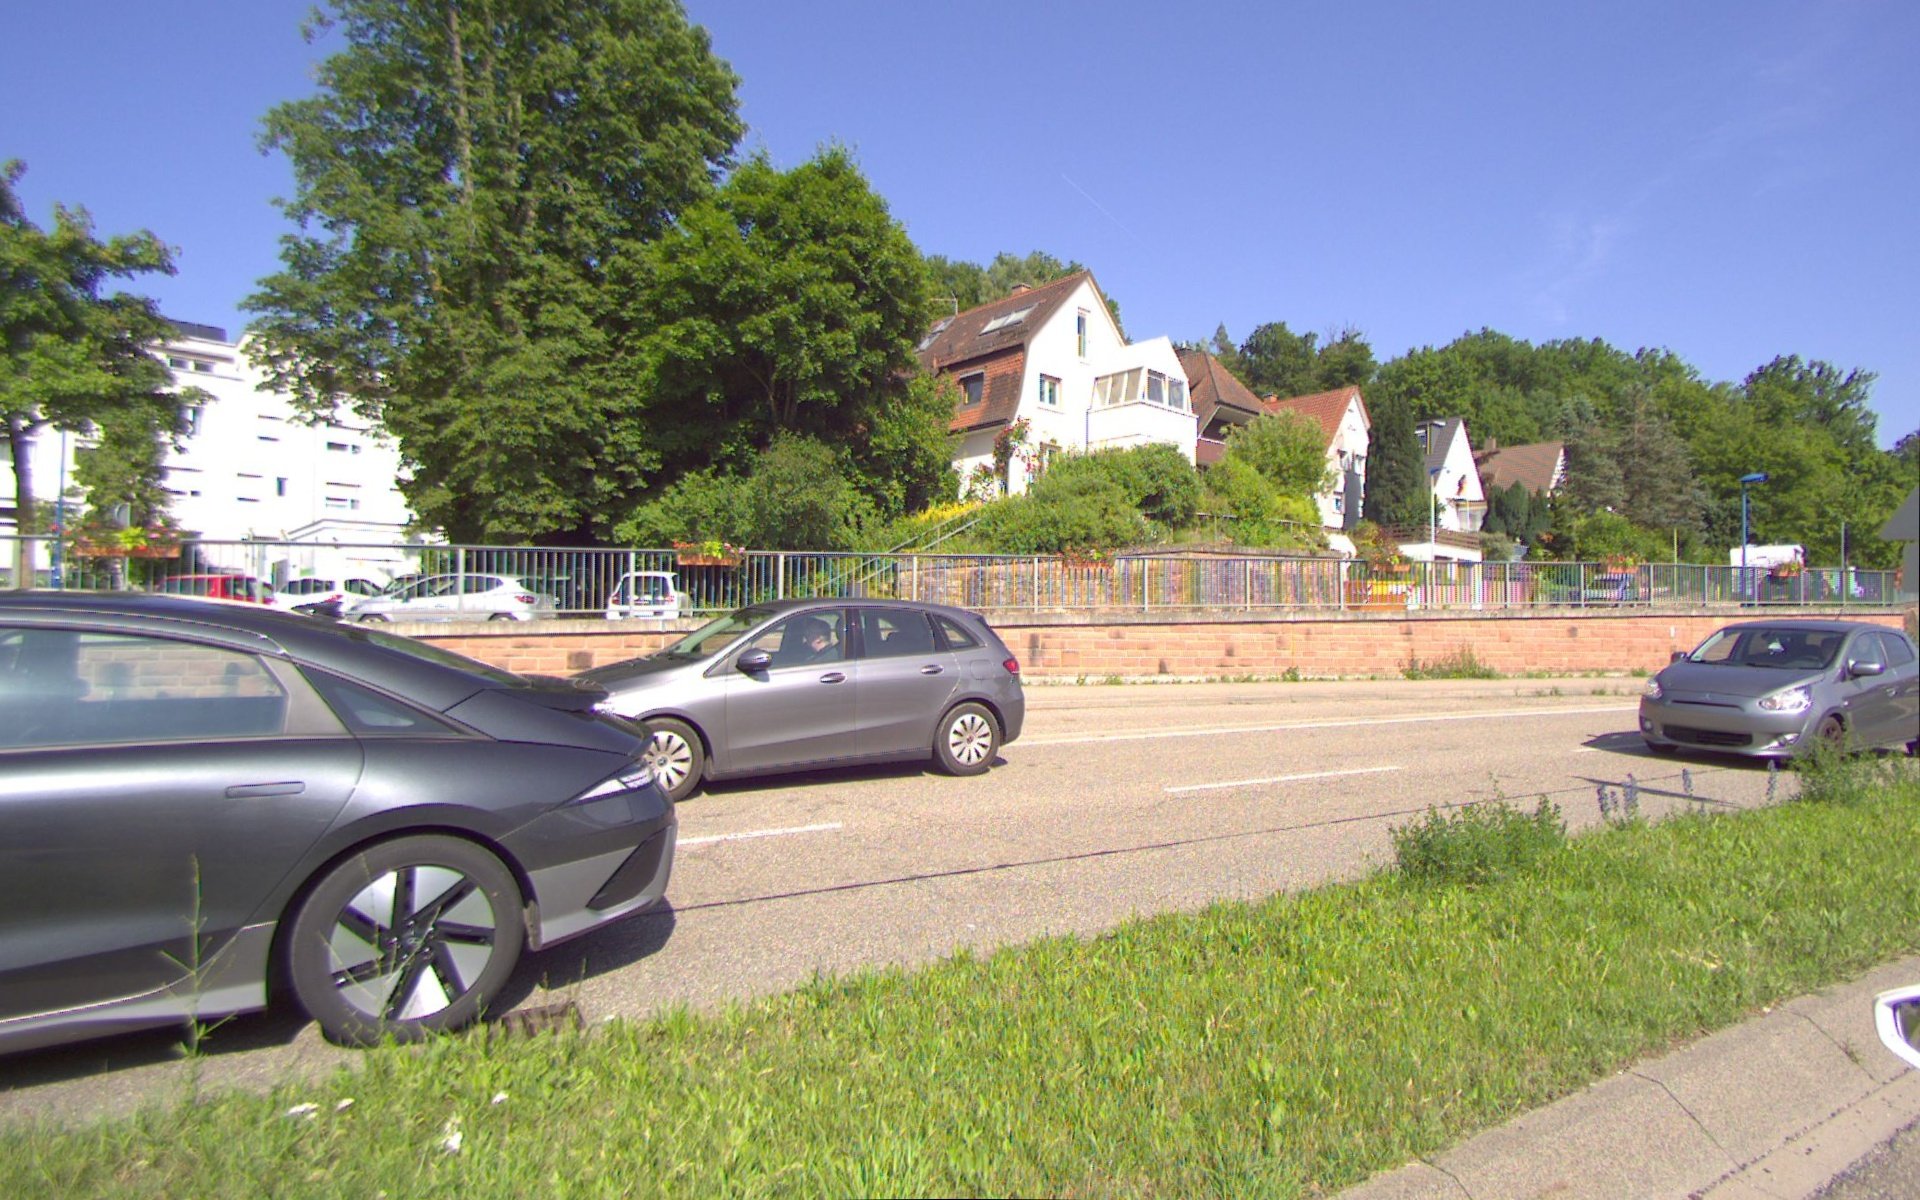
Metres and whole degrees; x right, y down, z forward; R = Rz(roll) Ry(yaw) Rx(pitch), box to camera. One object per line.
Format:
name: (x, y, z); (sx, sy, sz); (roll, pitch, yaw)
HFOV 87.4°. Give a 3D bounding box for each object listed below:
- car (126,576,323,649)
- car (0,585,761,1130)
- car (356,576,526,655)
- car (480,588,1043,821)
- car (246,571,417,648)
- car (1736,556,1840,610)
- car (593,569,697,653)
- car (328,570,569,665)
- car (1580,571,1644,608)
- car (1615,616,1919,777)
car: (-17.440, 0.228, 24.086); (1.877, 1.581, 3.998); (1, 1, -2)
car: (-3.215, 0.702, 3.420); (4.667, 1.490, 1.780); (1, 0, -34)
car: (-12.187, 0.298, 23.918); (1.961, 1.694, 3.999); (1, 1, 0)
car: (-1.685, 0.740, 8.776); (4.453, 1.585, 1.985); (1, 0, -28)
car: (-15.045, 0.156, 24.341); (1.877, 1.724, 3.996); (0, 2, -5)
car: (31.768, -0.664, 38.505); (4.687, 1.946, 2.006); (0, 2, -37)
car: (-7.628, 0.208, 24.672); (1.879, 1.901, 3.993); (0, 1, -9)
car: (-10.358, 0.363, 20.599); (3.922, 1.813, 1.921); (1, -1, -2)
car: (31.214, -0.467, 48.041); (1.875, 1.651, 3.976); (0, -1, 44)
car: (9.098, 0.950, 10.981); (3.793, 1.460, 1.665); (1, 0, -29)
